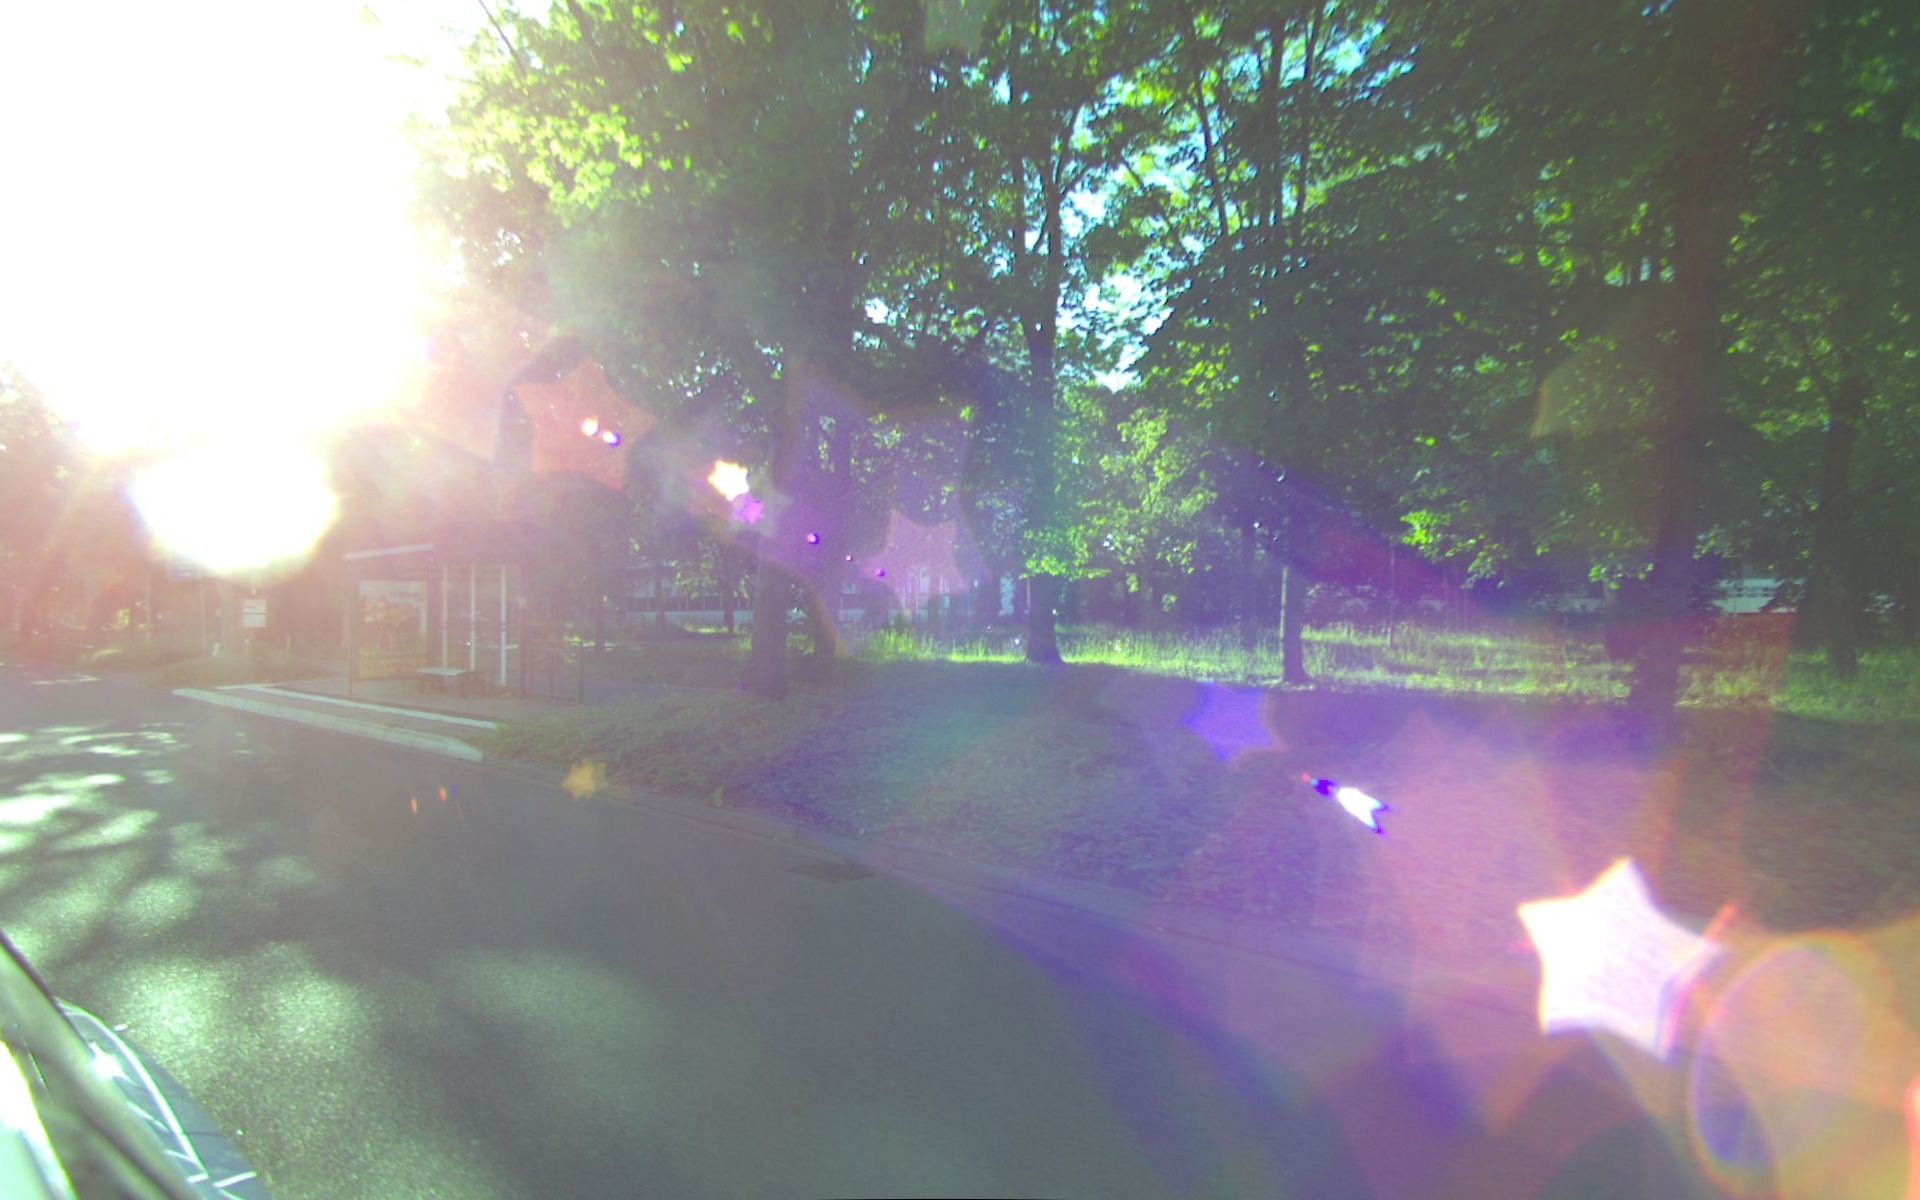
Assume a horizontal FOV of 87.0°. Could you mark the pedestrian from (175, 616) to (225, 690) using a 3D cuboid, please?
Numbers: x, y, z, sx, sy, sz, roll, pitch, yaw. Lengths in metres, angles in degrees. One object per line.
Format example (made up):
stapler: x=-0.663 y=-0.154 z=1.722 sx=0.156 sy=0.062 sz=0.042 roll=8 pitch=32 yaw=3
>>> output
pedestrian: x=-19.605 y=1.350 z=26.105 sx=0.720 sy=1.835 sz=0.894 roll=-2 pitch=-1 yaw=40
